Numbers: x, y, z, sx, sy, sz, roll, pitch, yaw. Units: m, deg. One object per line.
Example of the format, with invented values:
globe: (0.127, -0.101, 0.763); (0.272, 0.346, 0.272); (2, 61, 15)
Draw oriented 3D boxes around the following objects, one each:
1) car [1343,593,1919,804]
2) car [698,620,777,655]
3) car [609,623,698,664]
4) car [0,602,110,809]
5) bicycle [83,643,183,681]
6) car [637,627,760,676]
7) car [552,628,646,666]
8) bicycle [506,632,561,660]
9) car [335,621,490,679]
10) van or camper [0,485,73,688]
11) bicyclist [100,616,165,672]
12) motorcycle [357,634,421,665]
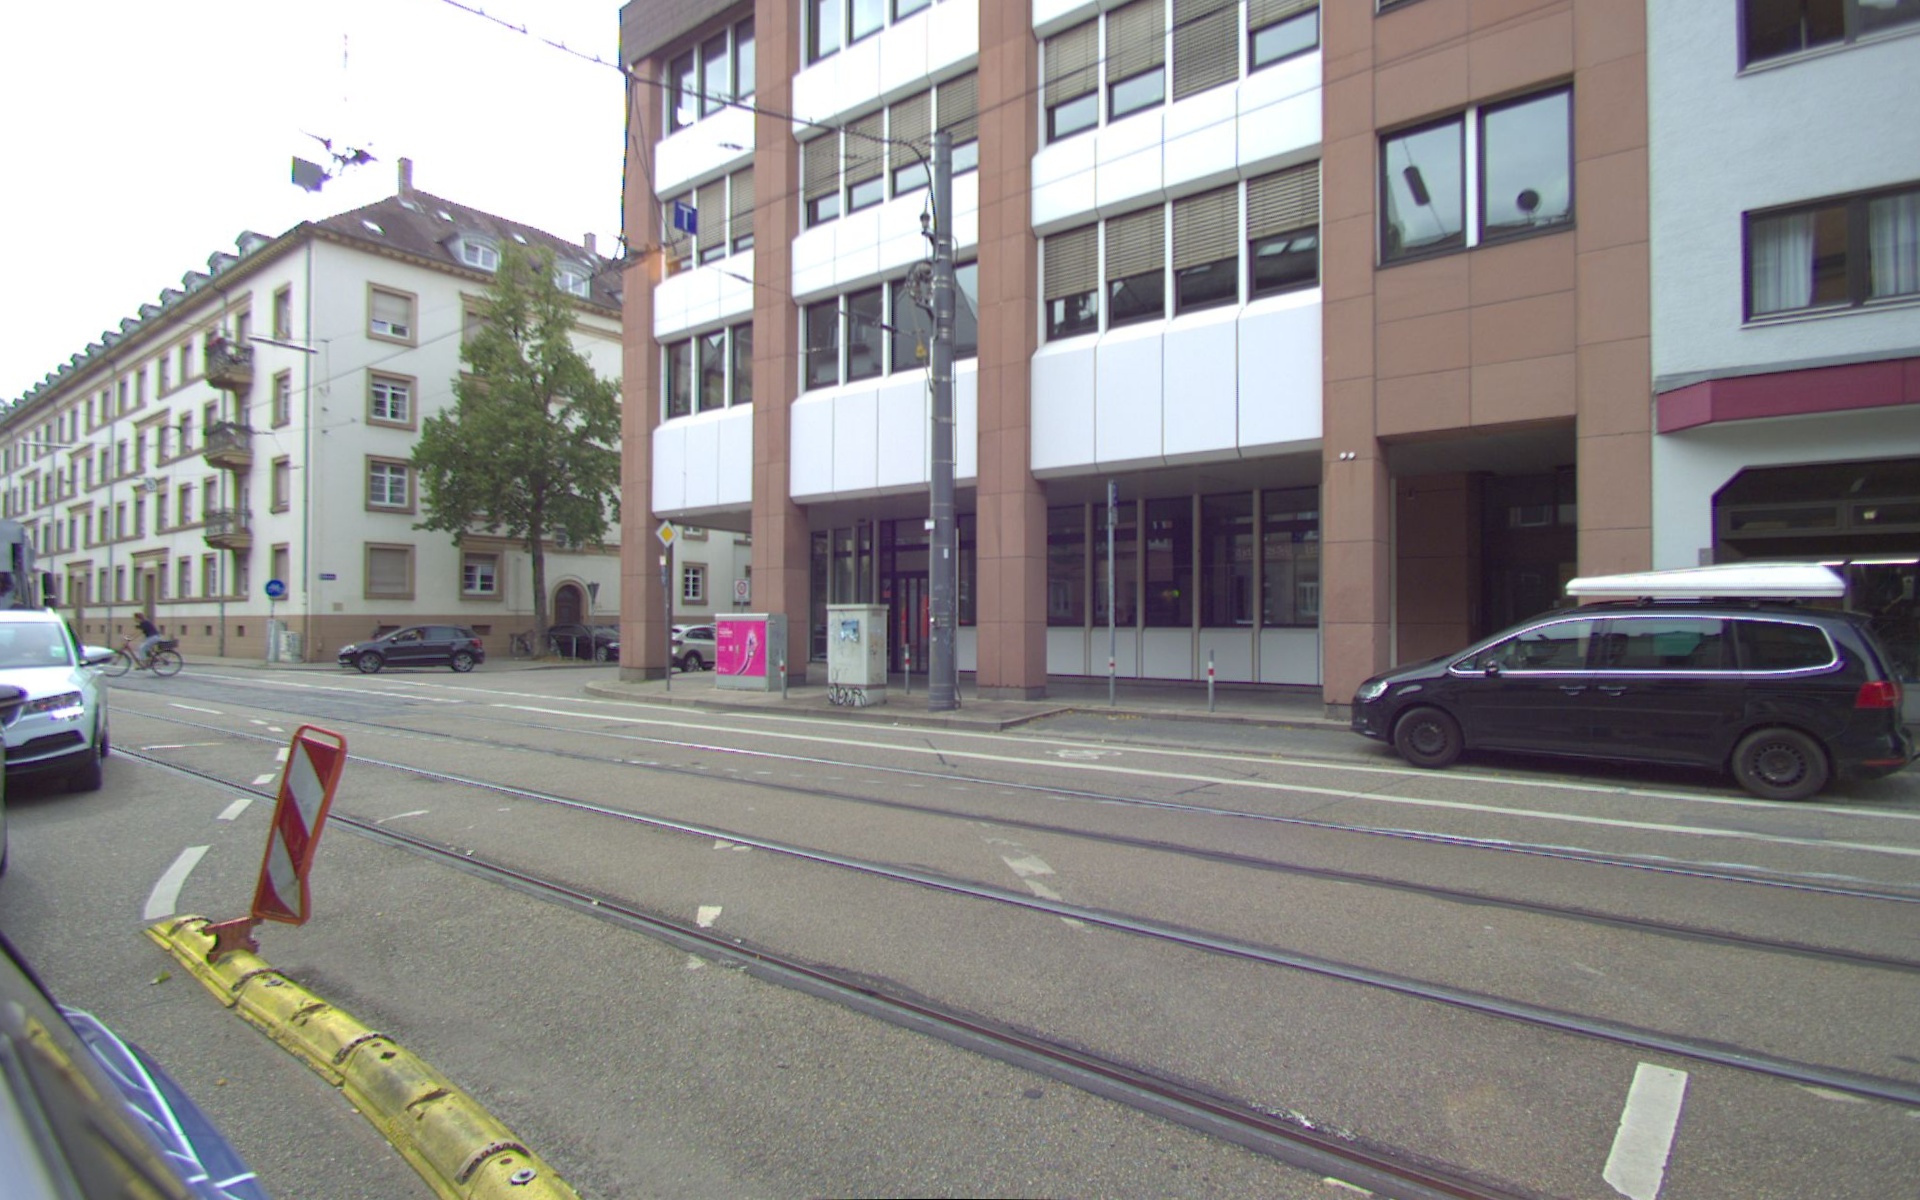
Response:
car: (6.558, 0.832, 10.222); (4.694, 1.659, 1.789); (-2, 0, 40)
car: (-9.852, 1.646, 44.772); (3.520, 1.473, 1.572); (-1, -2, 38)
car: (-12.258, 1.702, 40.423); (3.711, 1.559, 1.591); (-1, -2, 38)
car: (-9.133, 0.869, 9.234); (1.749, 1.603, 4.284); (-1, -1, -45)
bicycle: (-22.212, 1.654, 27.227); (1.978, 0.972, 0.675); (1, -3, -30)
car: (-7.950, 1.536, 31.033); (1.606, 1.399, 3.611); (-1, -2, 31)
car: (-13.808, 1.765, 38.626); (3.869, 1.407, 1.591); (-1, -2, 38)
bicycle: (-17.473, 1.883, 41.495); (0.792, 1.094, 1.900); (-2, -2, 39)
car: (-16.473, 1.464, 30.500); (3.980, 1.549, 1.780); (-1, -1, -32)
van or camper: (-20.307, -0.139, 20.020); (9.642, 3.447, 2.575); (-2, -2, 39)
bicyclist: (-22.248, 1.180, 27.226); (1.238, 1.473, 0.679); (1, -3, -31)
motorcycle: (-20.895, 1.791, 37.073); (0.792, 1.094, 1.900); (-2, -2, 39)
